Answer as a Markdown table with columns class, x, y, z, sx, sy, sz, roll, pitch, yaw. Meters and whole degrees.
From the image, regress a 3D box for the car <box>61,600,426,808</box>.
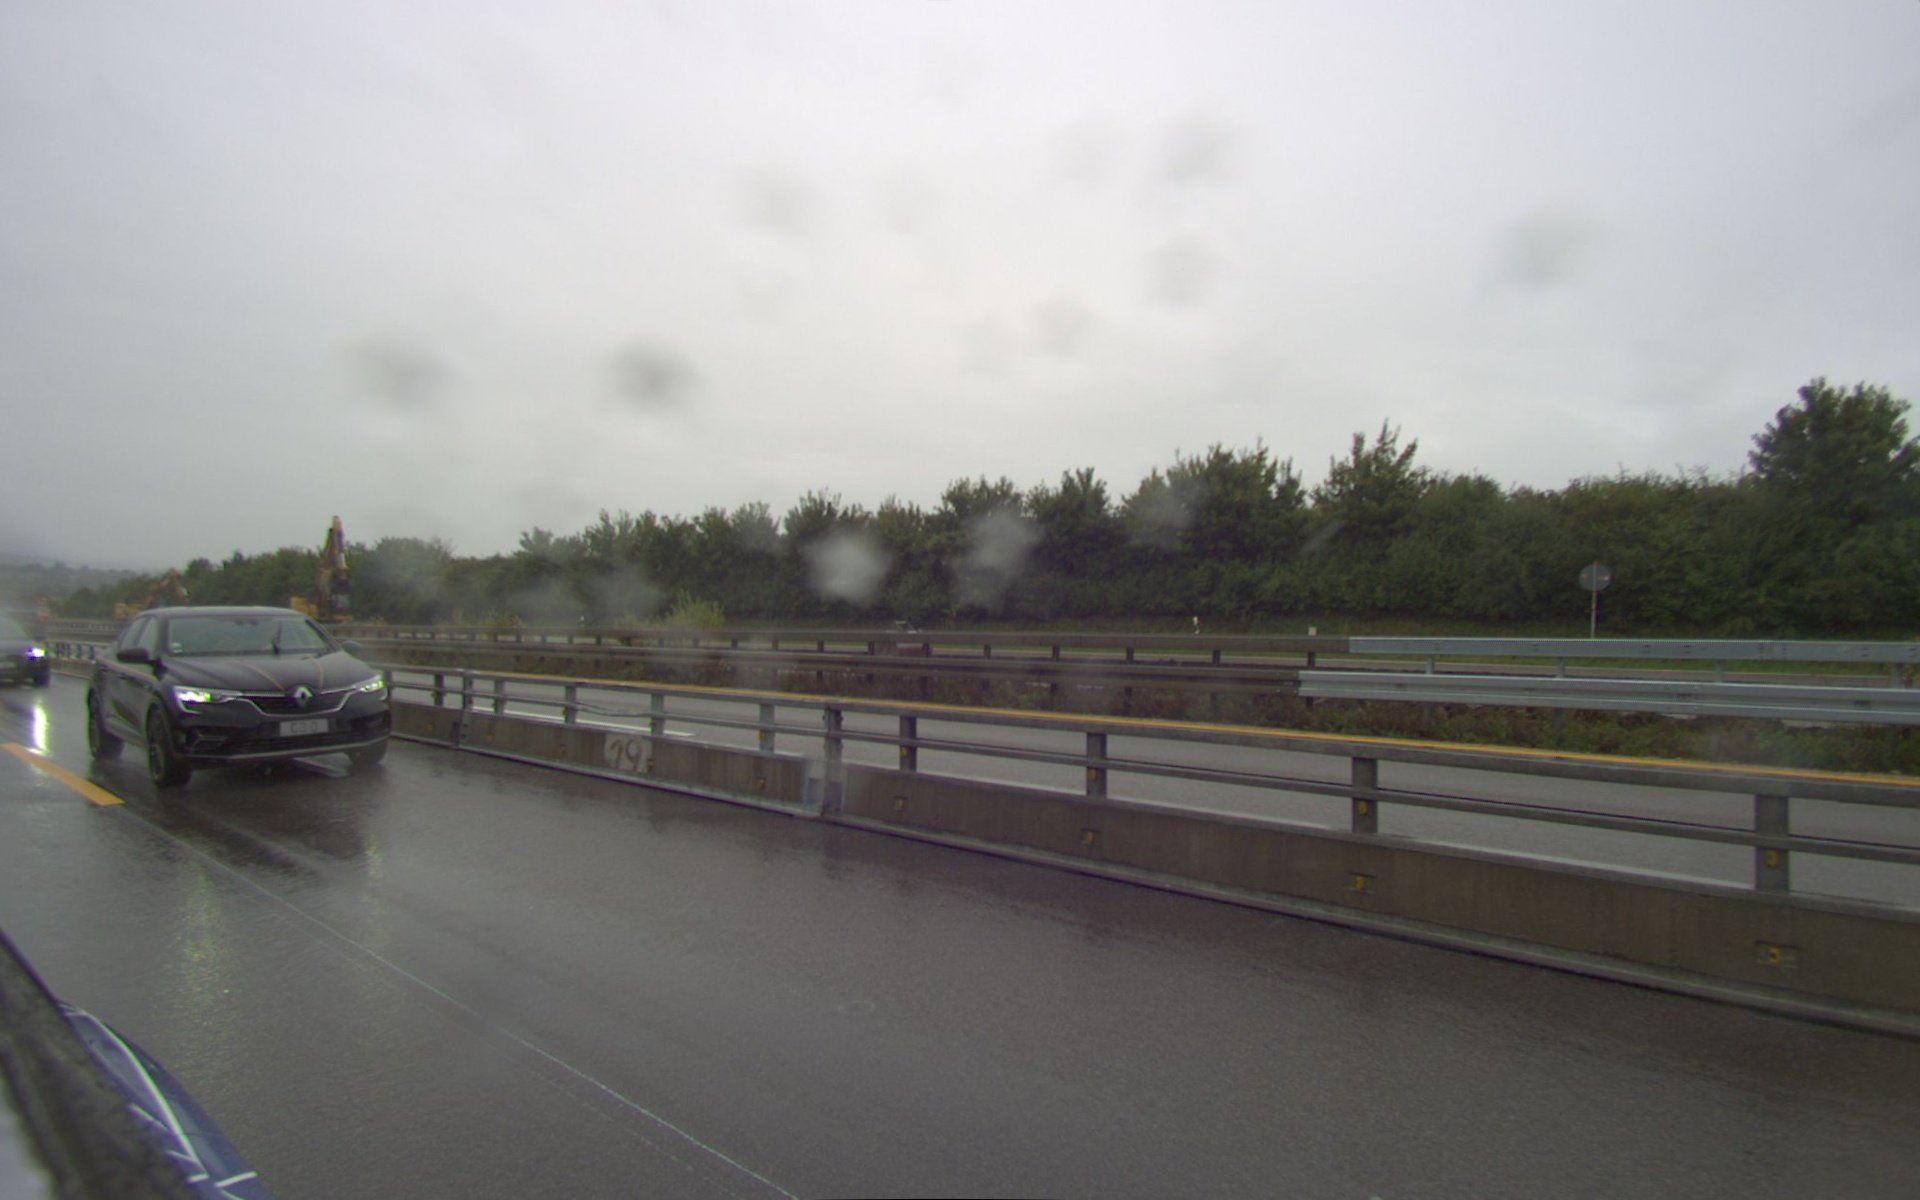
| class | x | y | z | sx | sy | sz | roll | pitch | yaw |
| --- | --- | --- | --- | --- | --- | --- | --- | --- | --- |
| car | -7.229 | 0.833 | 10.029 | 4.411 | 1.597 | 1.973 | -1 | 0 | 41 |

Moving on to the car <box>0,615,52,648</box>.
| class | x | y | z | sx | sy | sz | roll | pitch | yaw |
| --- | --- | --- | --- | --- | --- | --- | --- | --- | --- |
| car | -52.999 | 1.744 | 57.103 | 5.098 | 1.730 | 1.931 | -1 | 0 | 40 |

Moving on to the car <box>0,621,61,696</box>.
| class | x | y | z | sx | sy | sz | roll | pitch | yaw |
| --- | --- | --- | --- | --- | --- | --- | --- | --- | --- |
| car | -21.502 | 1.239 | 22.263 | 4.628 | 1.509 | 1.973 | -1 | -1 | 41 |

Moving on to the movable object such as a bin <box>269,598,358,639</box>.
| class | x | y | z | sx | sy | sz | roll | pitch | yaw |
| --- | --- | --- | --- | --- | --- | --- | --- | --- | --- |
| movable object such as a bin | -46.365 | 1.288 | 72.531 | 6.326 | 2.819 | 3.726 | -1 | 0 | 41 |

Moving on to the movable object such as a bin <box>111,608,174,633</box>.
| class | x | y | z | sx | sy | sz | roll | pitch | yaw |
| --- | --- | --- | --- | --- | --- | --- | --- | --- | --- |
| movable object such as a bin | -79.053 | 1.962 | 97.863 | 5.087 | 2.312 | 3.410 | -1 | 0 | 34 |
